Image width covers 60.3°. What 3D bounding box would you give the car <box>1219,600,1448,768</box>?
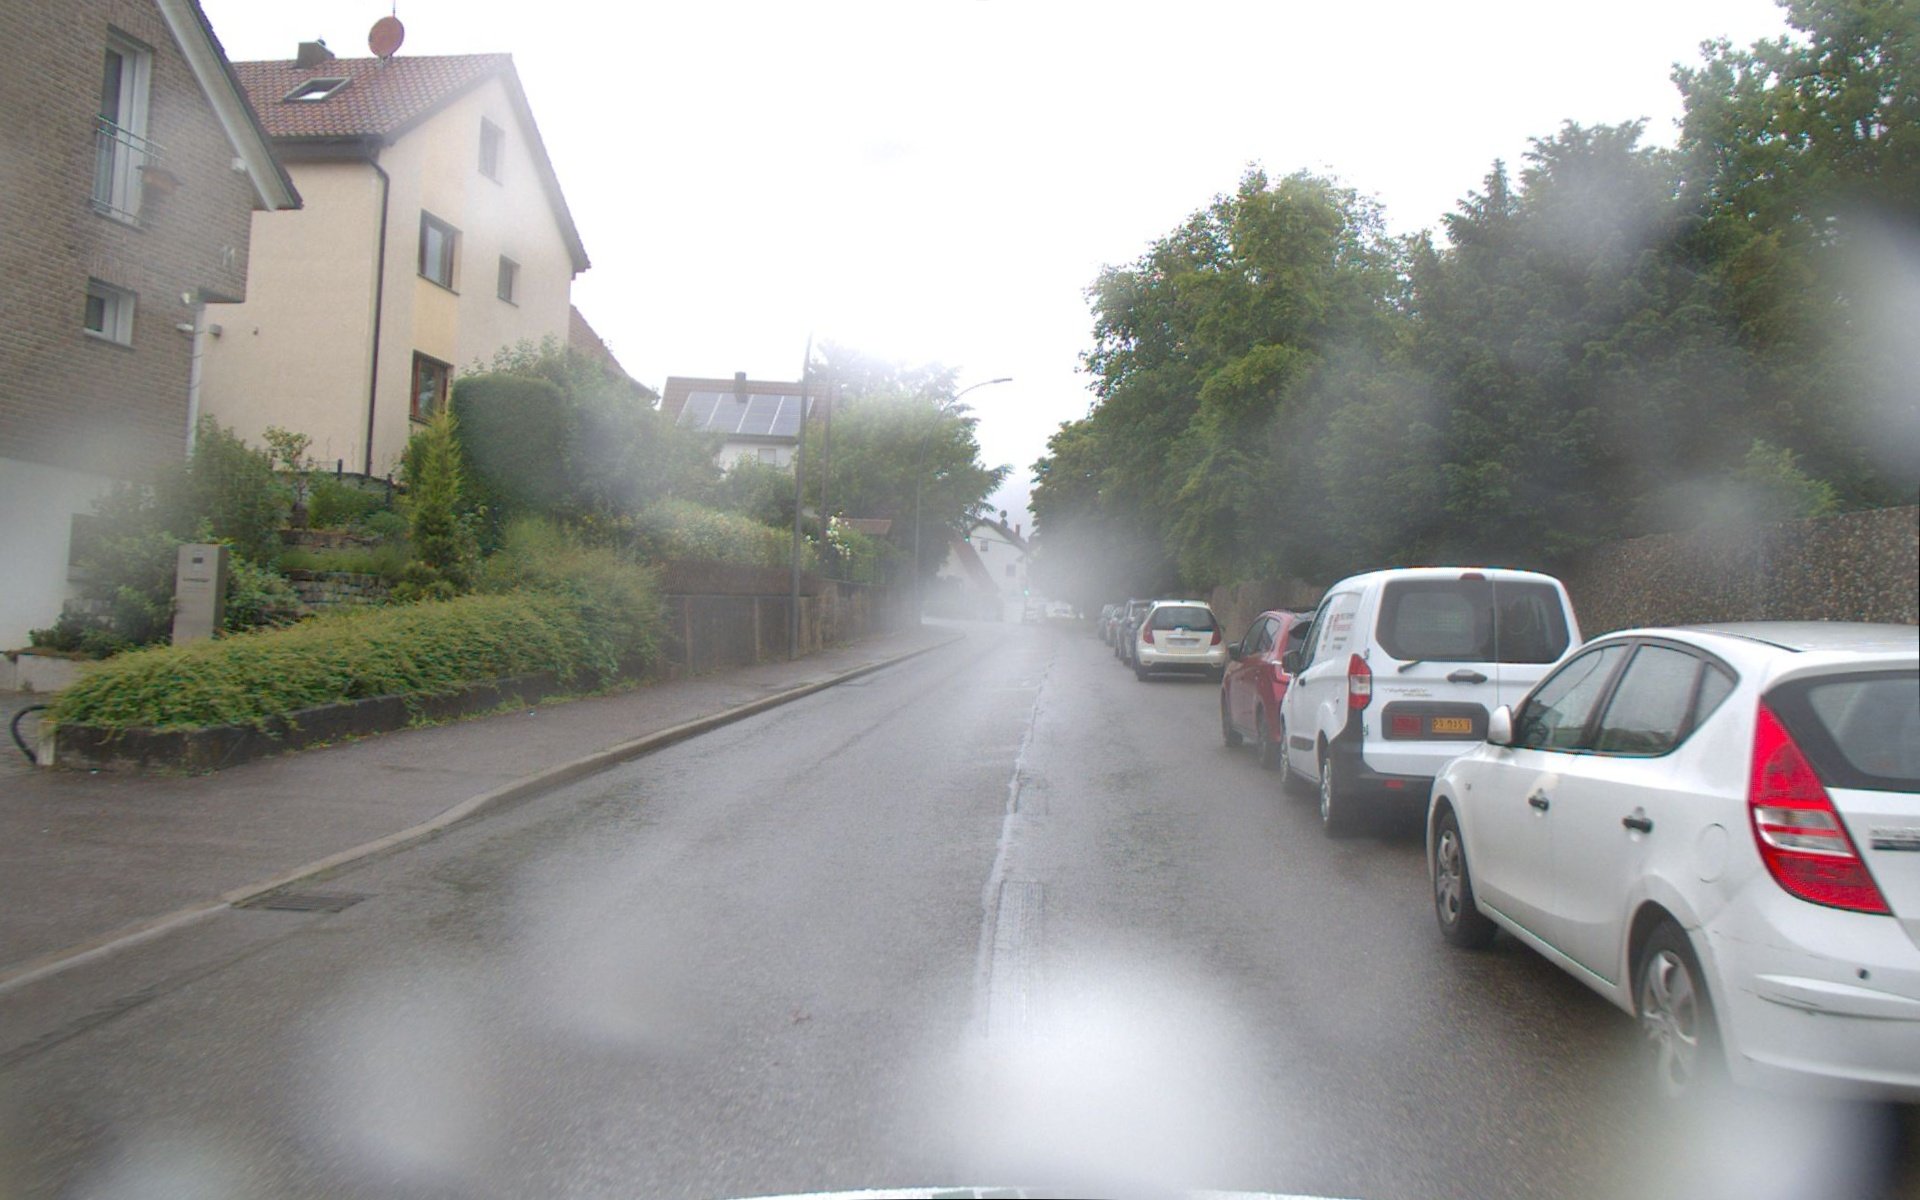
[{"bbox_3d":[3.671,0.761,16.827,1.551,1.480,3.664,0,0,1],"label":"car"}]

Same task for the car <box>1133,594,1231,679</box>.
[{"bbox_3d":[4.512,0.735,34.078,1.776,1.601,3.882,2,-1,5],"label":"car"}]

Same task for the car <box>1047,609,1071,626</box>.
[{"bbox_3d":[8.993,1.564,150.446,1.866,1.467,4.003,2,0,7],"label":"car"}]

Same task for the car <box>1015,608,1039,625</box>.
[{"bbox_3d":[6.135,1.519,151.060,1.866,1.467,4.003,2,0,7],"label":"car"}]

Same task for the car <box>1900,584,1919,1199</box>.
[{"bbox_3d":[2.761,0.742,1.497,1.578,1.506,4.039,2,0,1],"label":"car"}]

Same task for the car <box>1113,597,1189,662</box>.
[{"bbox_3d":[5.326,0.818,46.516,1.706,1.697,4.498,2,-1,2],"label":"car"}]

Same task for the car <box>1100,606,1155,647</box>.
[{"bbox_3d":[6.059,0.941,60.149,1.617,1.395,4.182,2,0,1],"label":"car"}]

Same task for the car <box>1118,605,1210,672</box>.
[{"bbox_3d":[4.900,0.904,40.187,1.728,1.472,4.697,2,-1,1],"label":"car"}]

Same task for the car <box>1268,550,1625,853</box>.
[{"bbox_3d":[3.330,0.629,12.091,1.603,1.771,4.137,2,0,4],"label":"car"}]

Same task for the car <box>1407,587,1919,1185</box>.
[{"bbox_3d":[2.969,0.782,6.156,1.611,1.488,4.001,3,-1,2],"label":"car"}]
